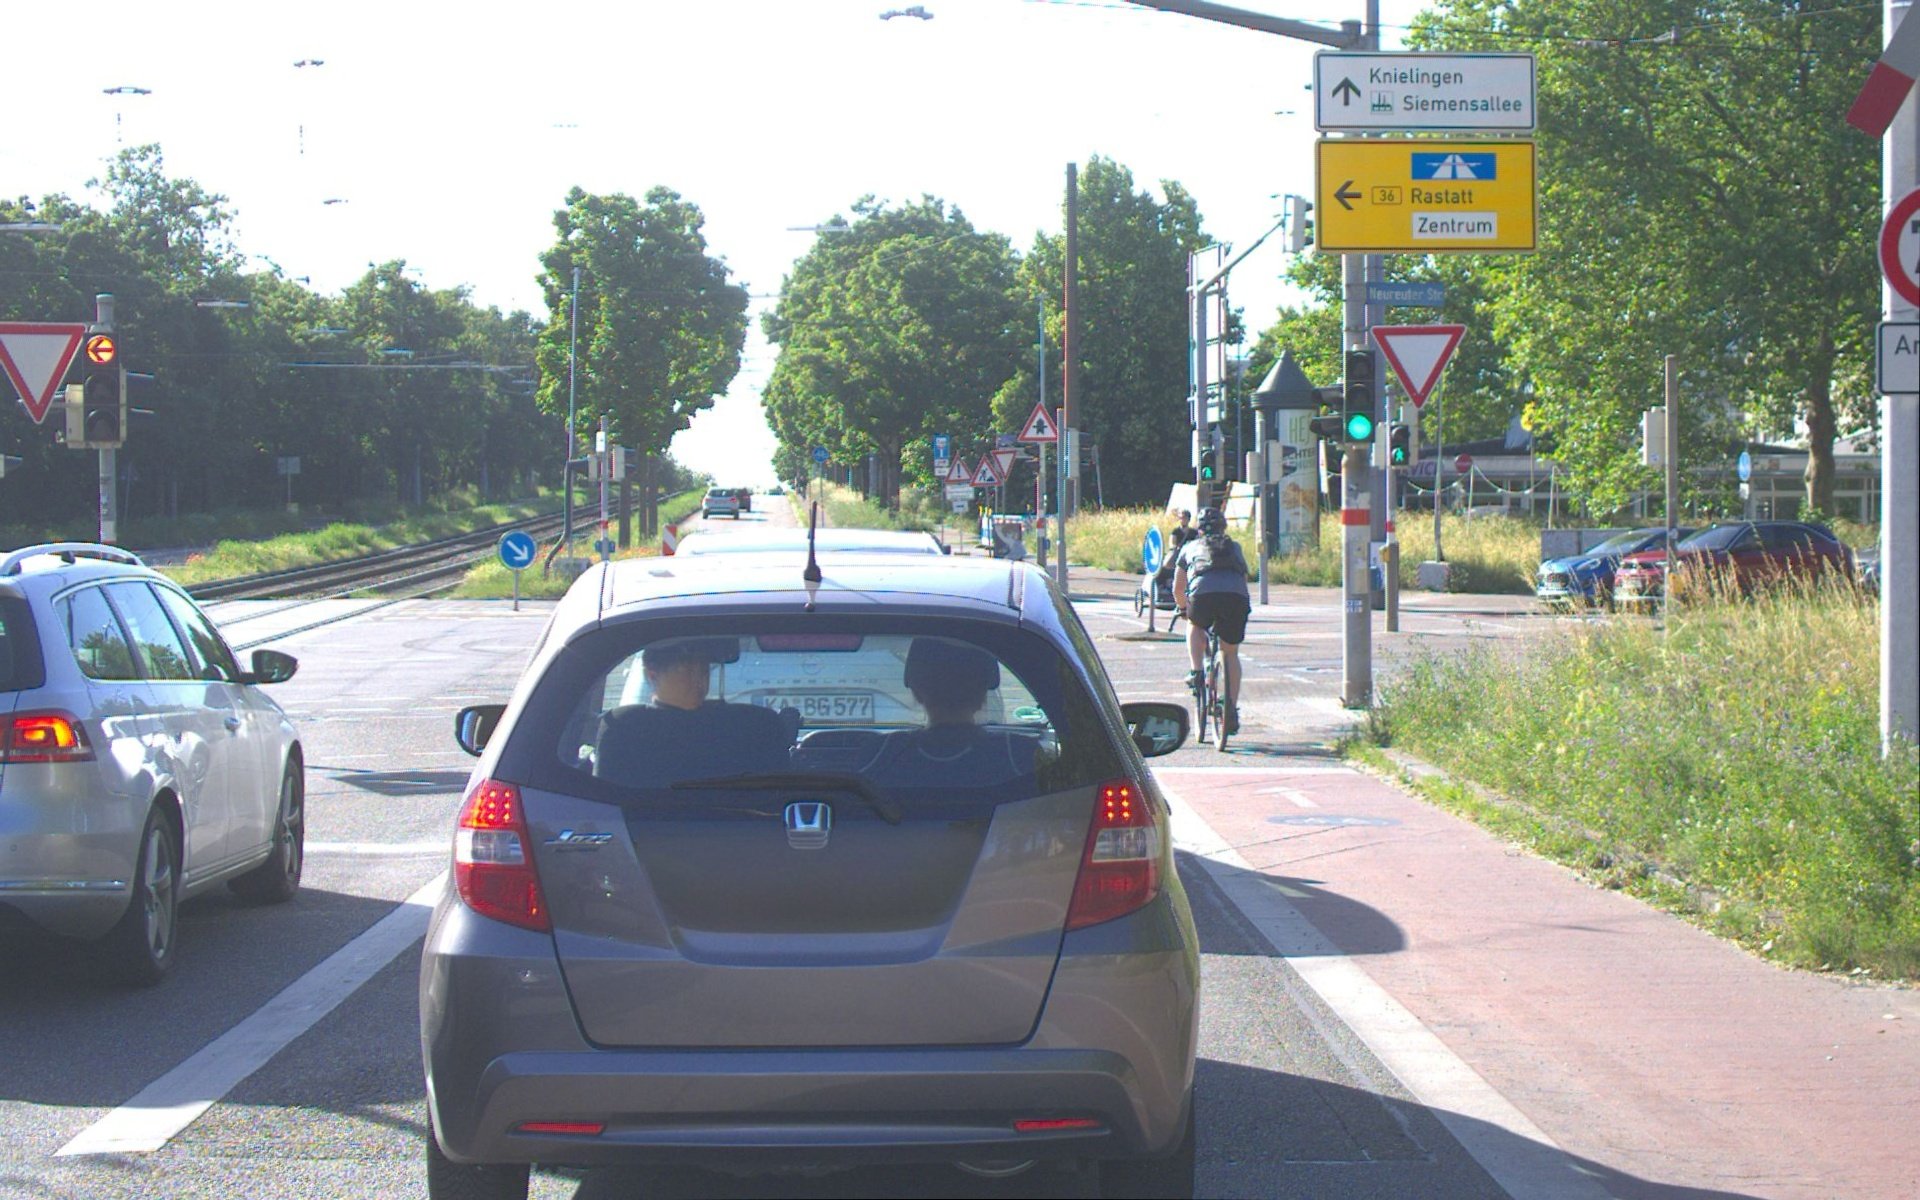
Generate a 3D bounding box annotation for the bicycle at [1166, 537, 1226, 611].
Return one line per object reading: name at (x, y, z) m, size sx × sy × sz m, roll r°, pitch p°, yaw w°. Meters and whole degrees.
bicycle at (3.658, -0.419, 53.378) m, size 0.466 × 1.115 × 1.821 m, roll 0°, pitch 1°, yaw -11°

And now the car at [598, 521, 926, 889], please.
car at (-0.880, 0.405, 15.886) m, size 1.351 × 1.522 × 3.124 m, roll -1°, pitch 1°, yaw -2°

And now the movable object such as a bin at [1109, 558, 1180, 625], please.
movable object such as a bin at (2.980, -0.141, 55.641) m, size 0.908 × 1.065 × 1.317 m, roll 0°, pitch 1°, yaw -9°

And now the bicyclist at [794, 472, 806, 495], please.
bicyclist at (-10.800, -7.862, 231.953) m, size 0.817 × 1.519 × 0.966 m, roll 1°, pitch 0°, yaw -2°

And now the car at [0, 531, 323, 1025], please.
car at (-3.650, 0.511, 12.786) m, size 1.877 × 1.522 × 4.421 m, roll -1°, pitch 1°, yaw -2°

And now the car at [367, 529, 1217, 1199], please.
car at (-0.351, 0.583, 8.642) m, size 1.670 × 1.510 × 3.674 m, roll 0°, pitch 1°, yaw -1°

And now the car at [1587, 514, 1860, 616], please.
car at (12.418, -0.584, 55.919) m, size 4.076 × 1.595 × 1.817 m, roll -1°, pitch 1°, yaw -25°

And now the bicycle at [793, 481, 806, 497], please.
bicycle at (-10.813, -7.500, 231.937) m, size 0.817 × 1.044 × 2.506 m, roll 1°, pitch 0°, yaw -2°

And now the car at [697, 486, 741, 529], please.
car at (-11.591, -4.448, 165.559) m, size 1.993 × 2.007 × 4.000 m, roll 0°, pitch 1°, yaw -2°

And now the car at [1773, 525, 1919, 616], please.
car at (16.864, -0.556, 62.598) m, size 3.847 × 1.595 × 1.713 m, roll -1°, pitch 1°, yaw -29°

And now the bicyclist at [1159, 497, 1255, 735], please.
bicyclist at (1.767, 0.103, 24.647) m, size 0.615 × 1.673 × 0.933 m, roll 0°, pitch 1°, yaw 0°

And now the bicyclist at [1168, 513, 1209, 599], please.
bicyclist at (3.580, -0.692, 53.980) m, size 0.509 × 1.336 × 0.565 m, roll -1°, pitch 1°, yaw -11°

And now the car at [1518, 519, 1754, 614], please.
car at (11.829, -0.606, 60.103) m, size 3.847 × 1.595 × 1.713 m, roll -1°, pitch 1°, yaw -29°

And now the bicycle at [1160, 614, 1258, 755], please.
bicycle at (1.775, 0.587, 24.755) m, size 0.524 × 0.920 × 2.089 m, roll 0°, pitch 1°, yaw -1°
